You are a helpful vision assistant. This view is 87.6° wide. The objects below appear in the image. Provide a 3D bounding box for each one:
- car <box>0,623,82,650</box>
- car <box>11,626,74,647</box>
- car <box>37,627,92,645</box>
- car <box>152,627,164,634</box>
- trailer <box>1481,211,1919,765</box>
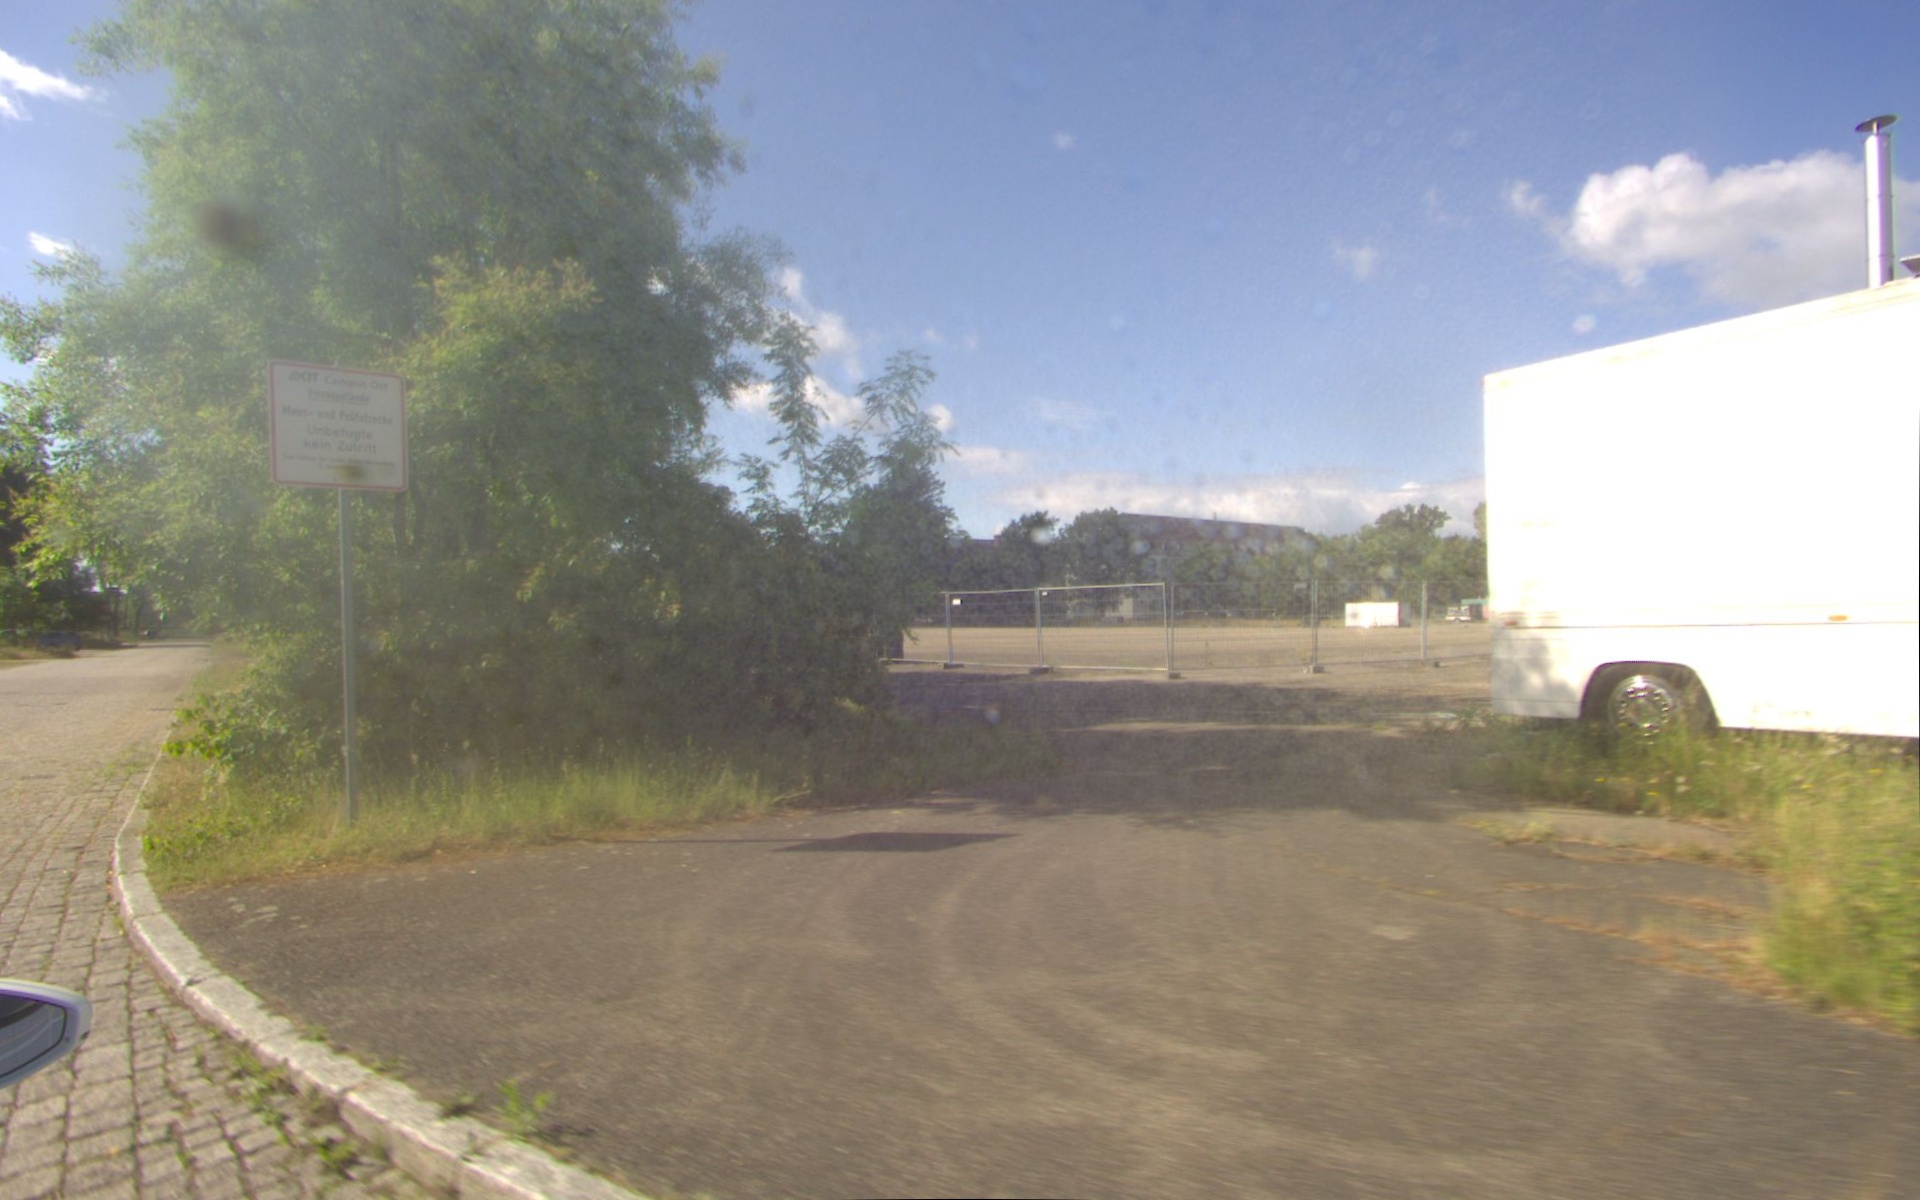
[{"bbox_3d":[-53.553,2.104,58.096,3.802,1.460,1.570,0,-1,-39],"label":"car"},{"bbox_3d":[-58.220,2.316,63.568,1.275,1.276,2.885,-1,-1,44],"label":"car"},{"bbox_3d":[-63.640,2.521,71.177,1.360,1.222,2.837,-1,-1,44],"label":"car"},{"bbox_3d":[-125.293,4.787,156.435,1.358,1.113,2.840,0,-1,-39],"label":"car"},{"bbox_3d":[9.248,-0.836,6.072,2.745,3.961,10.817,0,-1,-34],"label":"trailer"}]
